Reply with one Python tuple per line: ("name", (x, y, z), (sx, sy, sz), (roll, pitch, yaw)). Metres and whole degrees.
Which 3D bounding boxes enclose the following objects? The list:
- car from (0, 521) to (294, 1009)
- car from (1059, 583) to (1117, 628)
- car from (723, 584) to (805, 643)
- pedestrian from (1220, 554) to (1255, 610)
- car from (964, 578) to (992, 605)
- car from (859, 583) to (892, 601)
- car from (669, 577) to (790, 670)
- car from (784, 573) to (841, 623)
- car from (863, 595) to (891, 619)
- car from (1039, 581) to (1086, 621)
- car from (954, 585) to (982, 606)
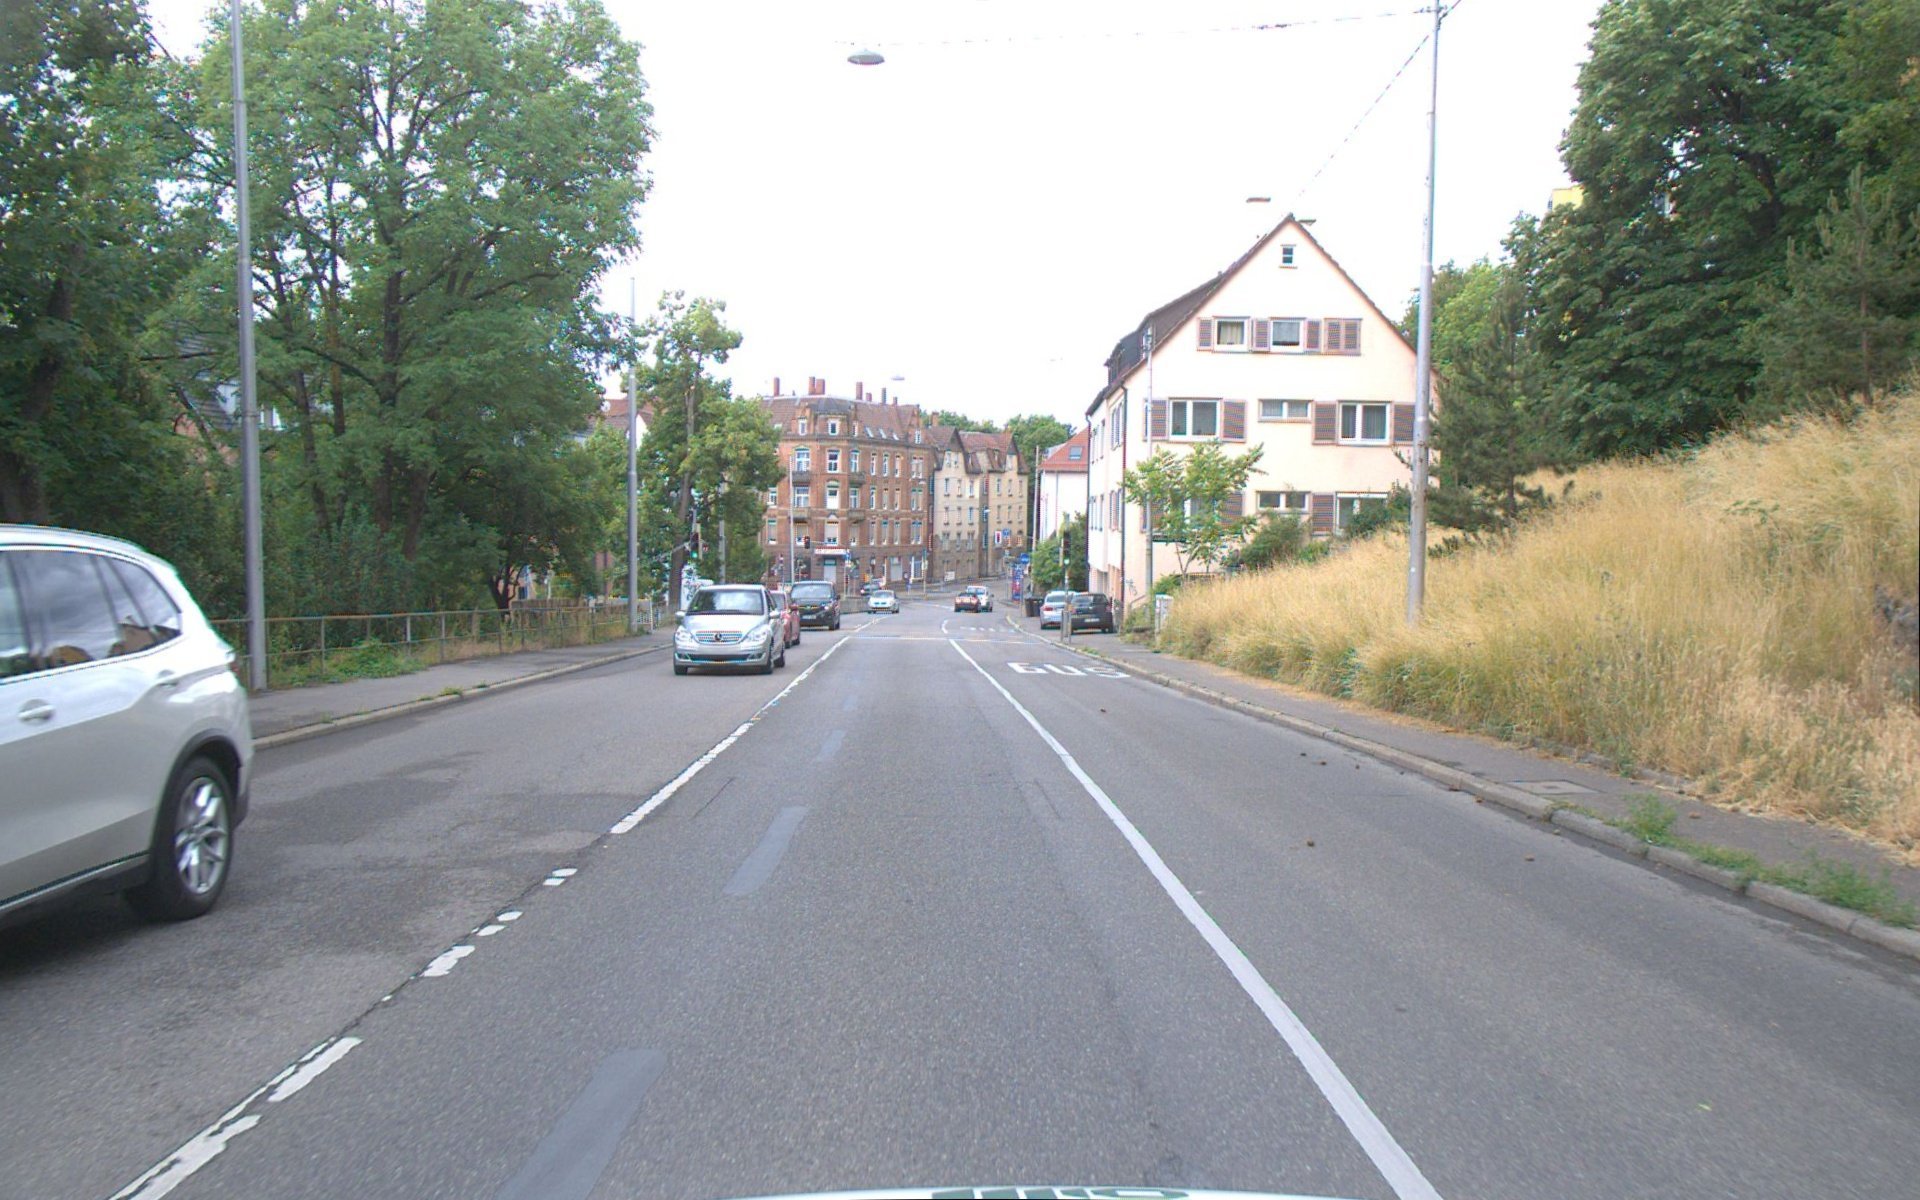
("car", (-4.350, 0.579, 6.098), (1.955, 1.712, 4.662), (0, 1, -1))
("car", (4.580, 0.201, 59.490), (1.647, 1.476, 3.999), (-3, 0, -1))
("car", (-5.139, 0.322, 43.887), (1.748, 1.485, 4.427), (0, 0, -2))
("pedestrian", (8.794, -0.556, 52.488), (0.869, 1.725, 0.872), (2, 0, -5))
("car", (1.422, -0.655, 126.706), (1.869, 1.917, 4.002), (2, 0, 3))
("car", (-7.833, -0.759, 153.439), (1.939, 1.602, 4.379), (-1, 0, 12))
("car", (-4.218, 0.393, 30.792), (1.748, 1.602, 4.279), (0, 0, -2))
("car", (-5.345, -0.085, 60.426), (1.747, 1.776, 4.428), (0, 0, -1))
("car", (-5.278, 0.453, 105.301), (1.685, 1.470, 4.158), (-1, 0, -1))
("car", (4.211, 0.028, 68.310), (1.757, 1.476, 4.720), (-3, 1, 2))
("car", (0.610, -0.325, 119.778), (1.778, 1.455, 4.002), (2, 1, 3))
